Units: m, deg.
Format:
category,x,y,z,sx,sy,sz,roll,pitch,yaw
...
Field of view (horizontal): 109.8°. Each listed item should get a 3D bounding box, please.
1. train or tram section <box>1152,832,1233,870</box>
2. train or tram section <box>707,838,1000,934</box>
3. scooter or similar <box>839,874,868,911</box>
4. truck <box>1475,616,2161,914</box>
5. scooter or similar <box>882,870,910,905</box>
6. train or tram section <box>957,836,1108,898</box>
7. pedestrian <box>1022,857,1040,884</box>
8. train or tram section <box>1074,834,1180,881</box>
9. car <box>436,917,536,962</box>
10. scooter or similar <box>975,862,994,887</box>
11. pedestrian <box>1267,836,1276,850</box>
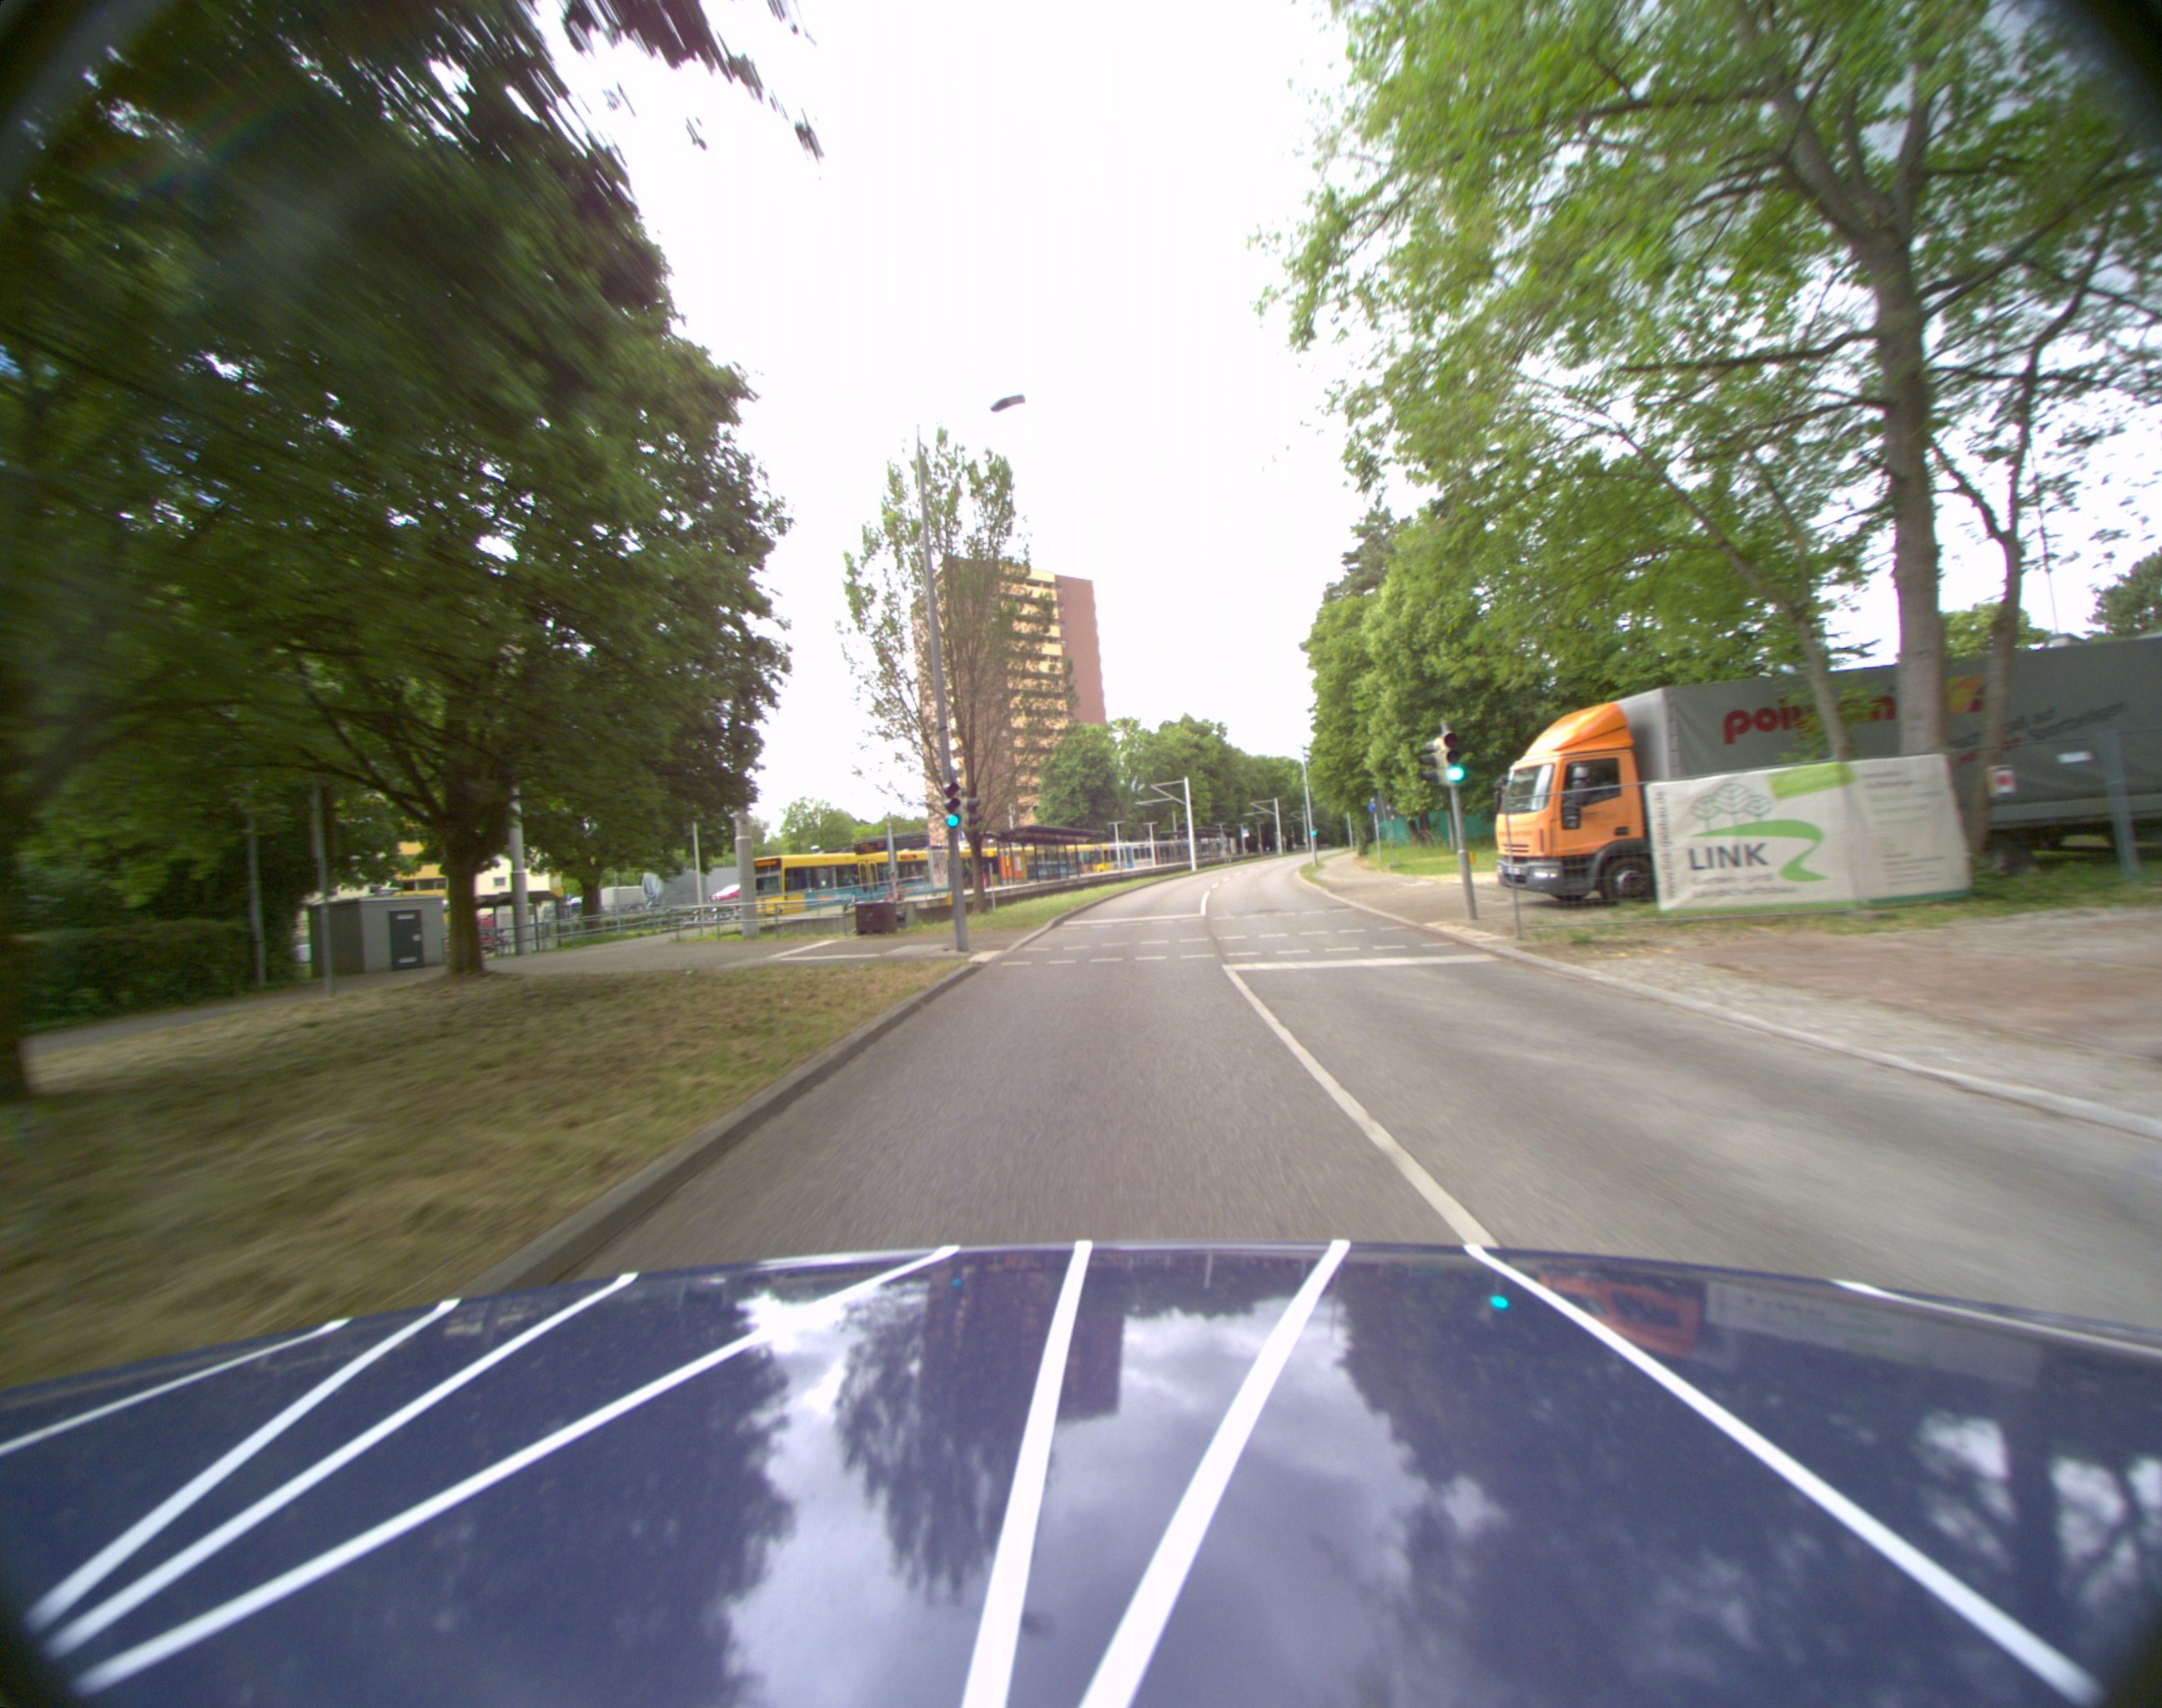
category,x,y,z,sx,sy,sz,roll,pitch,yaw
train or tram section,14.051,-0.547,92.960,2.816,3.714,18.561,-7,-1,30
train or tram section,-10.460,1.180,40.415,2.817,3.567,19.541,-7,-1,23
scooter or similar,-8.518,1.424,28.478,0.430,1.246,1.255,-5,2,10
truck,12.070,-1.285,12.603,9.249,3.511,2.566,-6,1,8
scooter or similar,-7.308,1.301,29.986,0.430,1.246,1.255,-5,2,13
train or tram section,-2.911,0.647,58.563,2.817,3.714,19.541,-7,-1,23
pedestrian,-3.012,1.005,45.837,0.623,1.563,0.666,-5,1,40
train or tram section,5.138,0.094,76.294,2.817,3.775,18.962,-7,-1,27
car,-34.397,4.902,44.050,1.900,2.002,4.005,-4,0,22
scooter or similar,-5.137,1.100,40.423,0.368,1.235,1.147,-6,0,22
pedestrian,26.121,-1.538,104.322,0.985,1.747,0.730,-7,-2,20
